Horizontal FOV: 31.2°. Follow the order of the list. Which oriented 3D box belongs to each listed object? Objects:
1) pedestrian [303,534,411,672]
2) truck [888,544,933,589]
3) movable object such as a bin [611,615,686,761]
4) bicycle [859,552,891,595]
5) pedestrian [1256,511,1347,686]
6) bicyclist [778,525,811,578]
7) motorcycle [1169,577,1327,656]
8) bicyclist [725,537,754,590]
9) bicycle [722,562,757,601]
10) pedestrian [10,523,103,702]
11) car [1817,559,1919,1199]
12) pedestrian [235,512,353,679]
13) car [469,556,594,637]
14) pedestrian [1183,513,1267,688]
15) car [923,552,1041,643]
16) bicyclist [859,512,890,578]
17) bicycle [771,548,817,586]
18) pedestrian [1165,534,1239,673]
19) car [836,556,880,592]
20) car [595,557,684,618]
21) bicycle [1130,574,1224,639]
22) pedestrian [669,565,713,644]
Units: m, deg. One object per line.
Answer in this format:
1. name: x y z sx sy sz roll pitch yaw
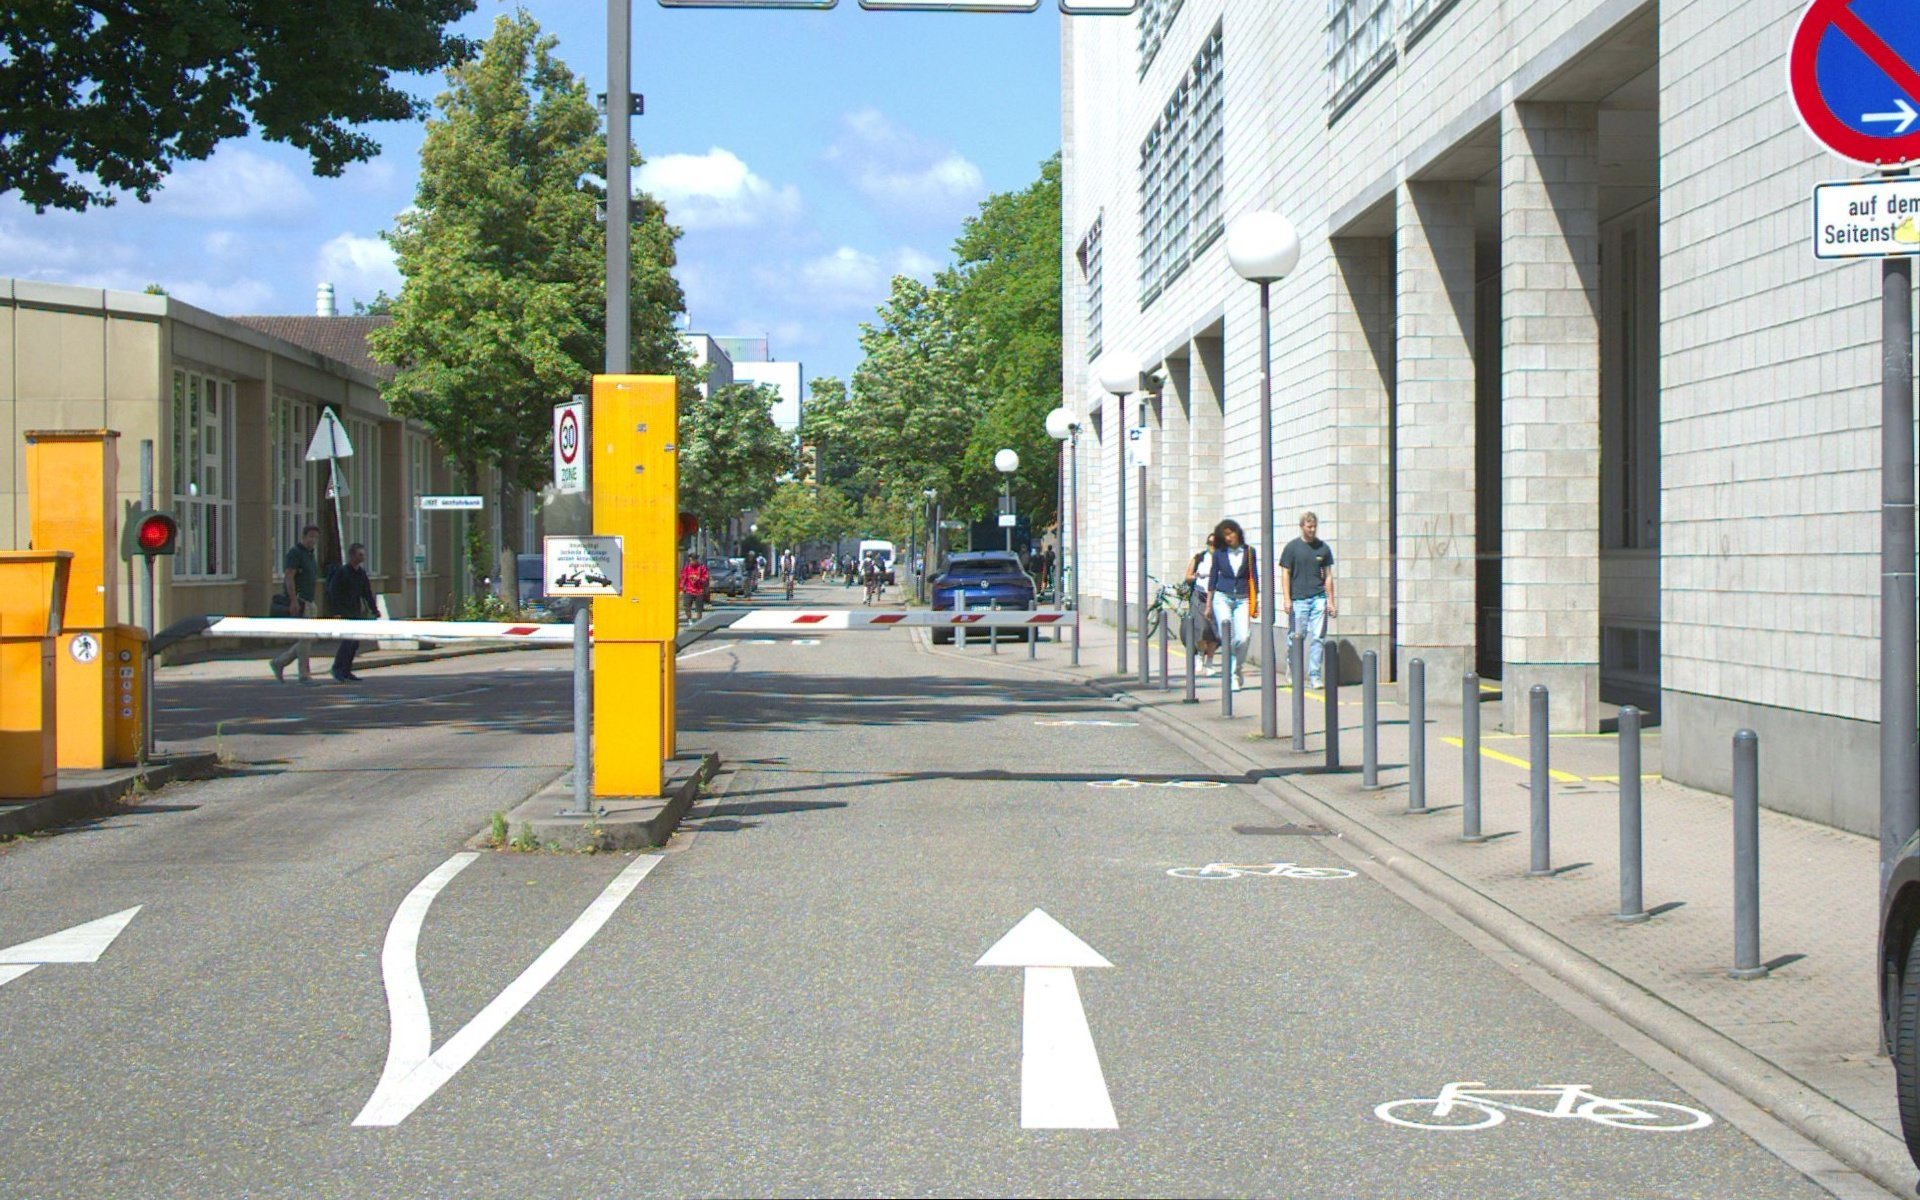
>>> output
1. pedestrian: -7.188 0.037 40.978 0.887 1.627 0.894 0 0 39
2. truck: -2.391 -1.601 164.787 1.993 2.007 4.000 0 -1 -3
3. movable object such as a bin: -1.963 0.549 21.679 0.416 0.902 0.353 0 1 3
4. bicycle: -2.776 -0.860 112.079 0.987 1.311 2.964 0 -1 -2
5. pedestrian: 3.539 -0.023 35.654 0.767 1.774 0.911 -2 1 -3
6. bicyclist: -6.016 -1.764 124.598 0.987 1.877 1.036 0 -1 -15
7. motorcycle: 4.014 0.233 48.016 2.123 1.019 0.660 -2 -1 0
8. bicyclist: -7.984 -1.314 124.354 0.987 1.877 1.036 0 -1 -8
9. bicycle: -7.985 -0.660 124.357 0.987 1.311 2.964 0 -1 -9
10. pedestrian: -9.223 0.115 35.103 0.705 1.803 1.001 0 1 -2
11. car: 3.114 0.656 6.292 1.866 1.459 4.520 0 1 -1
12. pedestrian: -7.786 -0.047 40.177 0.887 1.919 1.004 0 0 39
13. car: -8.420 -0.099 67.821 1.993 1.540 4.212 0 1 -1
14. pedestrian: 2.746 -0.007 35.685 0.694 1.774 1.086 -2 1 -3
15. car: 0.354 -0.068 60.449 1.993 1.540 4.212 0 1 -1
16. bicyclist: -2.790 -1.779 112.032 0.987 2.125 1.036 0 -1 -2
17. bicycle: -6.030 -1.193 124.629 0.987 1.311 2.965 0 -1 -16
18. pedestrian: 2.889 0.033 41.058 0.741 1.627 0.888 -2 1 -3
19. car: -5.134 -1.286 173.012 1.993 1.714 4.000 0 -1 1
20. car: -8.337 -0.341 89.753 1.993 1.540 4.212 0 1 -1
21. bicycle: 3.642 0.109 57.662 1.544 1.063 0.647 -1 1 7
22. pedestrian: -5.589 0.095 71.448 0.894 1.627 0.888 0 0 -3
